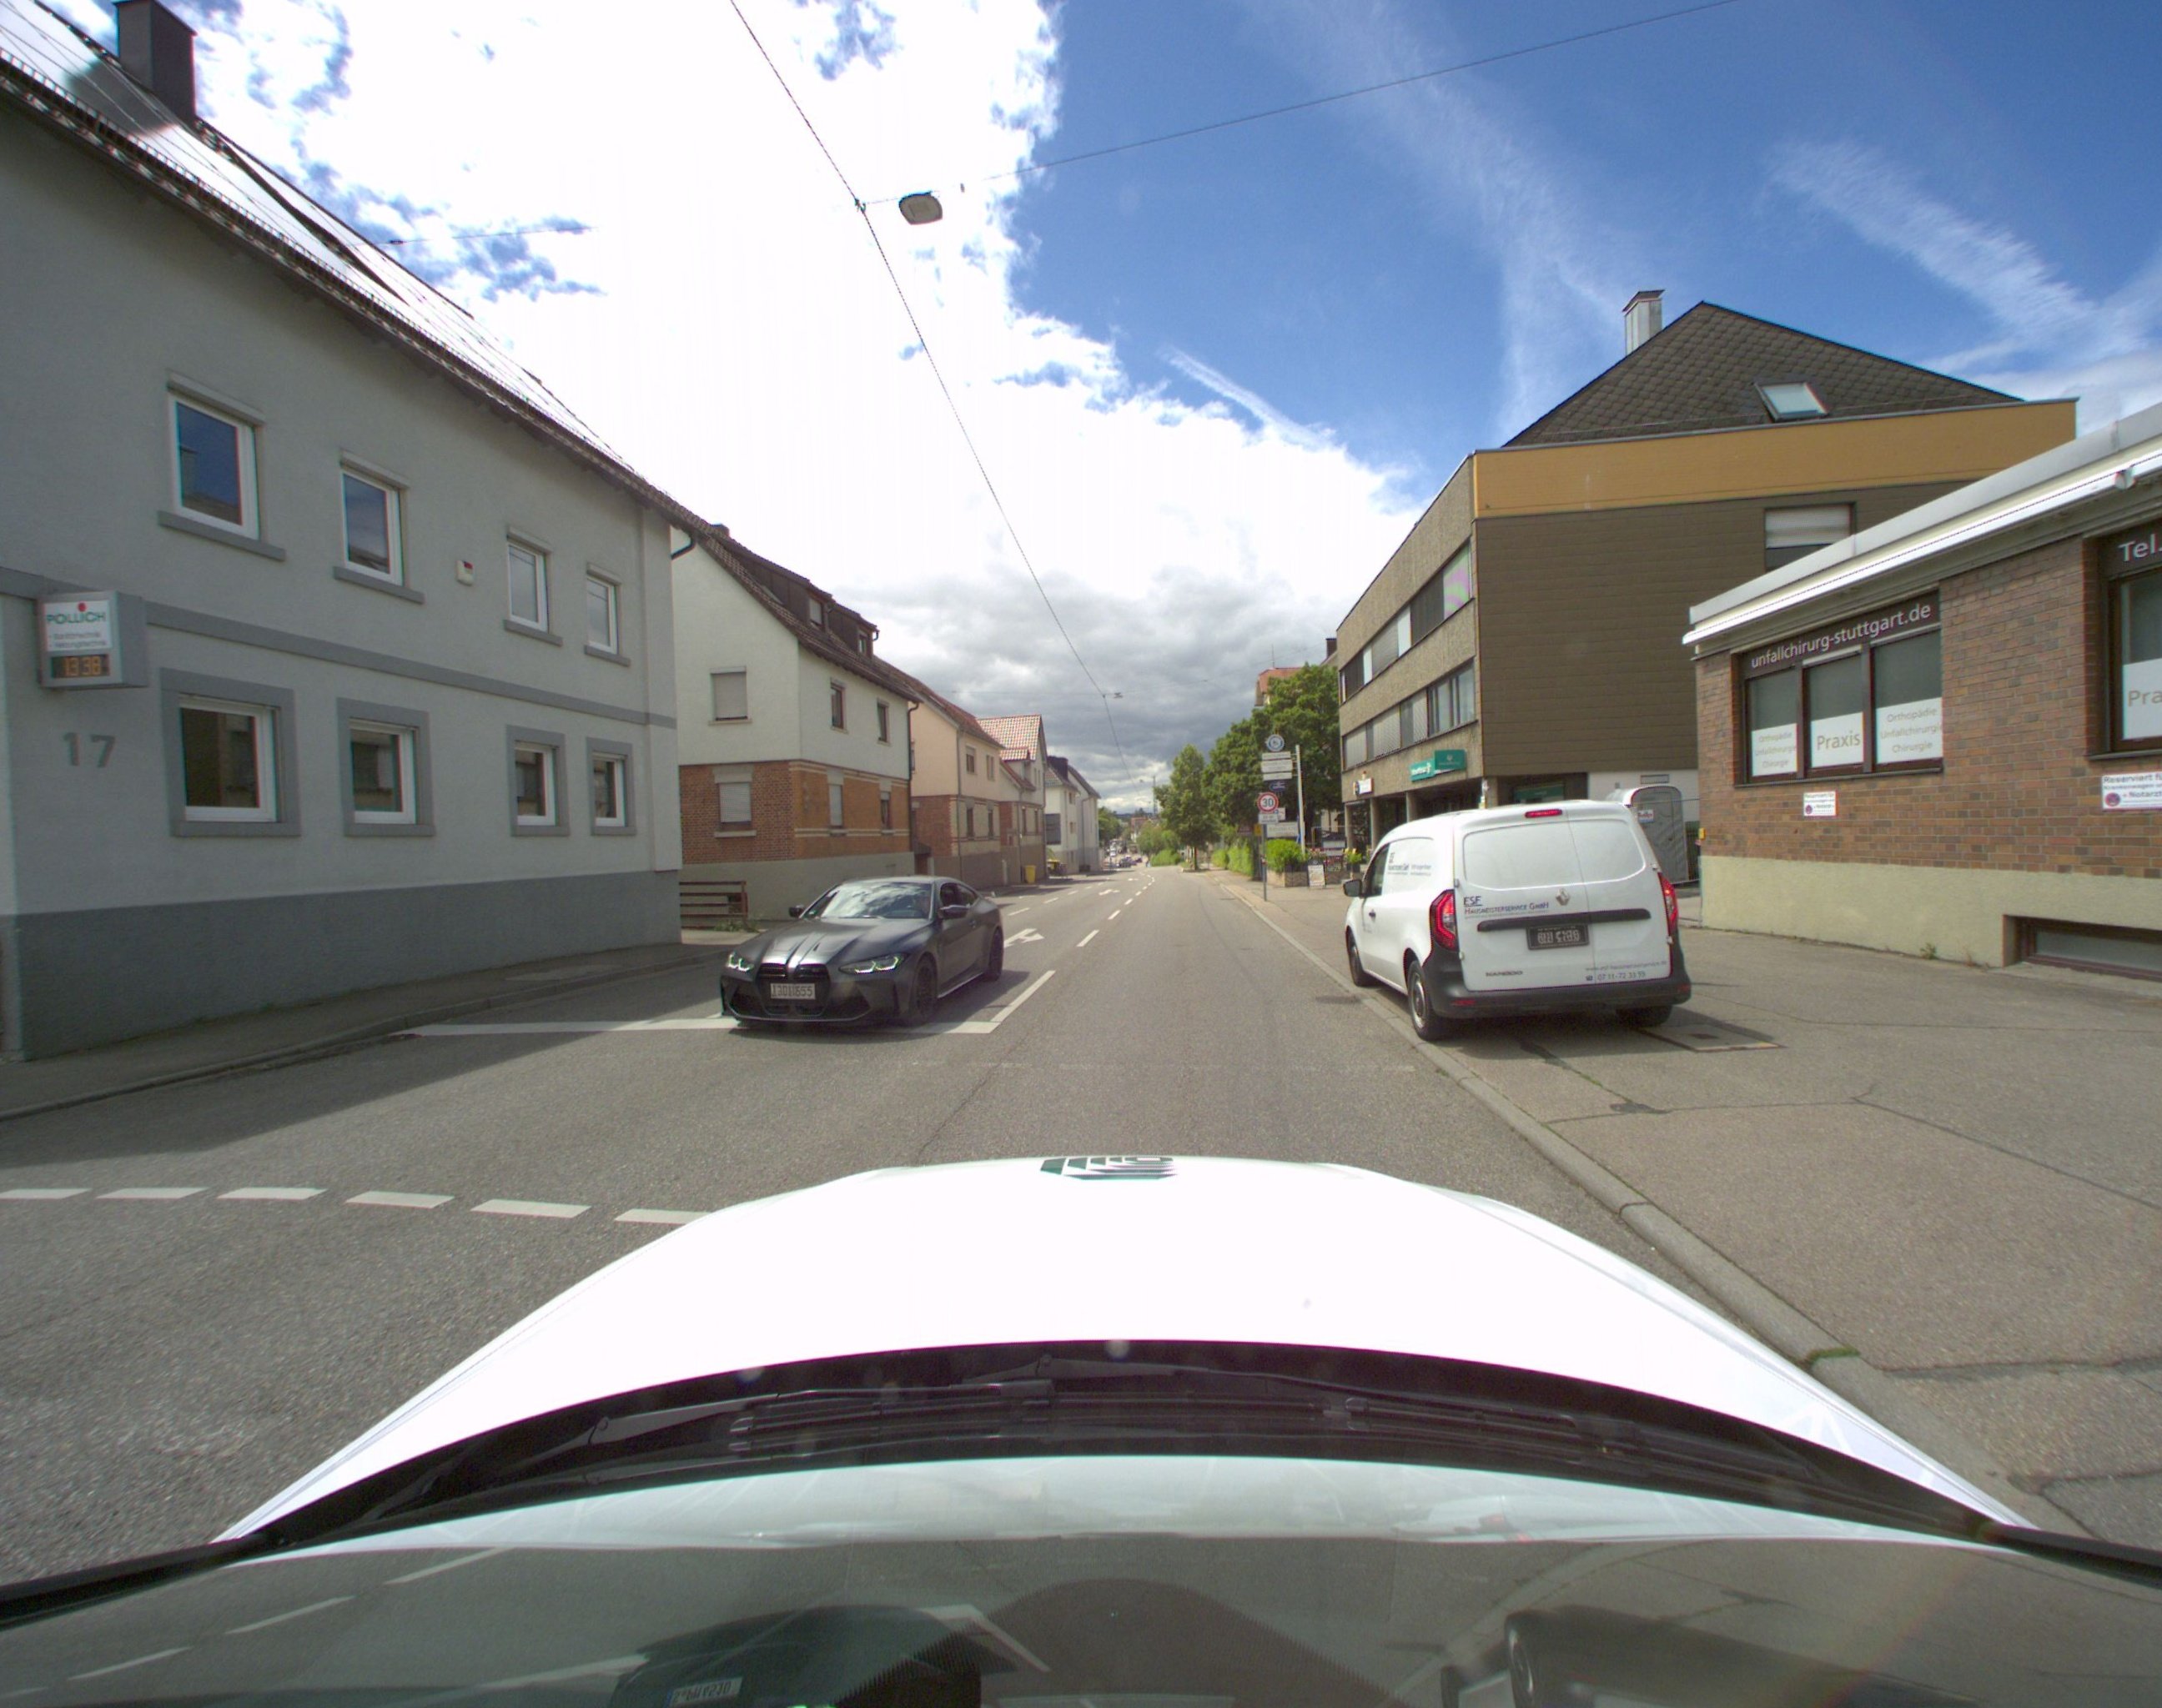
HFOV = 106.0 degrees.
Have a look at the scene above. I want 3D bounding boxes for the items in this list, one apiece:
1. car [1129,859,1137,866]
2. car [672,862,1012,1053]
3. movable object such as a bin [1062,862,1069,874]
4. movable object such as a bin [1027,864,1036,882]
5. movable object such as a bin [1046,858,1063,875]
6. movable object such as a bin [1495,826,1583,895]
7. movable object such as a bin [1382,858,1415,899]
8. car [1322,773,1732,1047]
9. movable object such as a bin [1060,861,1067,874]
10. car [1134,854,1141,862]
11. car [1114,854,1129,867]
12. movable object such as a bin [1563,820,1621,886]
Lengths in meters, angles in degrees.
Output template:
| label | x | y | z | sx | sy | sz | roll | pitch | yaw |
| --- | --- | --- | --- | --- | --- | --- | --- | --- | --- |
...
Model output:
| label | x | y | z | sx | sy | sz | roll | pitch | yaw |
| --- | --- | --- | --- | --- | --- | --- | --- | --- | --- |
| car | 14.077 | 2.306 | 220.477 | 1.985 | 2.013 | 4.003 | -3 | -1 | 3 |
| car | -2.267 | 0.920 | 9.280 | 1.983 | 1.457 | 4.626 | -4 | 0 | 6 |
| movable object such as a bin | -1.297 | 1.185 | 68.754 | 0.529 | 1.030 | 0.455 | -3 | 0 | 5 |
| movable object such as a bin | -3.099 | 1.195 | 51.045 | 0.429 | 1.128 | 0.299 | -4 | 0 | 5 |
| movable object such as a bin | -2.195 | 1.052 | 67.052 | 1.276 | 1.310 | 0.816 | -3 | 0 | 1 |
| movable object such as a bin | 10.676 | 0.138 | 19.057 | 1.473 | 1.492 | 1.079 | -3 | 2 | 10 |
| movable object such as a bin | 8.455 | 0.647 | 21.665 | 0.597 | 1.026 | 0.683 | -4 | 0 | 36 |
| car | 3.773 | 0.399 | 7.971 | 1.901 | 1.794 | 4.500 | -5 | 0 | 7 |
| movable object such as a bin | -1.464 | 1.154 | 68.201 | 0.529 | 1.030 | 0.455 | -3 | 0 | 5 |
| car | 16.443 | 1.154 | 236.352 | 1.985 | 2.013 | 4.003 | -3 | -1 | 3 |
| car | 6.582 | 1.043 | 133.267 | 1.989 | 2.013 | 3.996 | -3 | 0 | -2 |
| movable object such as a bin | 11.822 | -0.045 | 18.865 | 0.775 | 1.439 | 1.021 | -3 | 2 | 10 |
